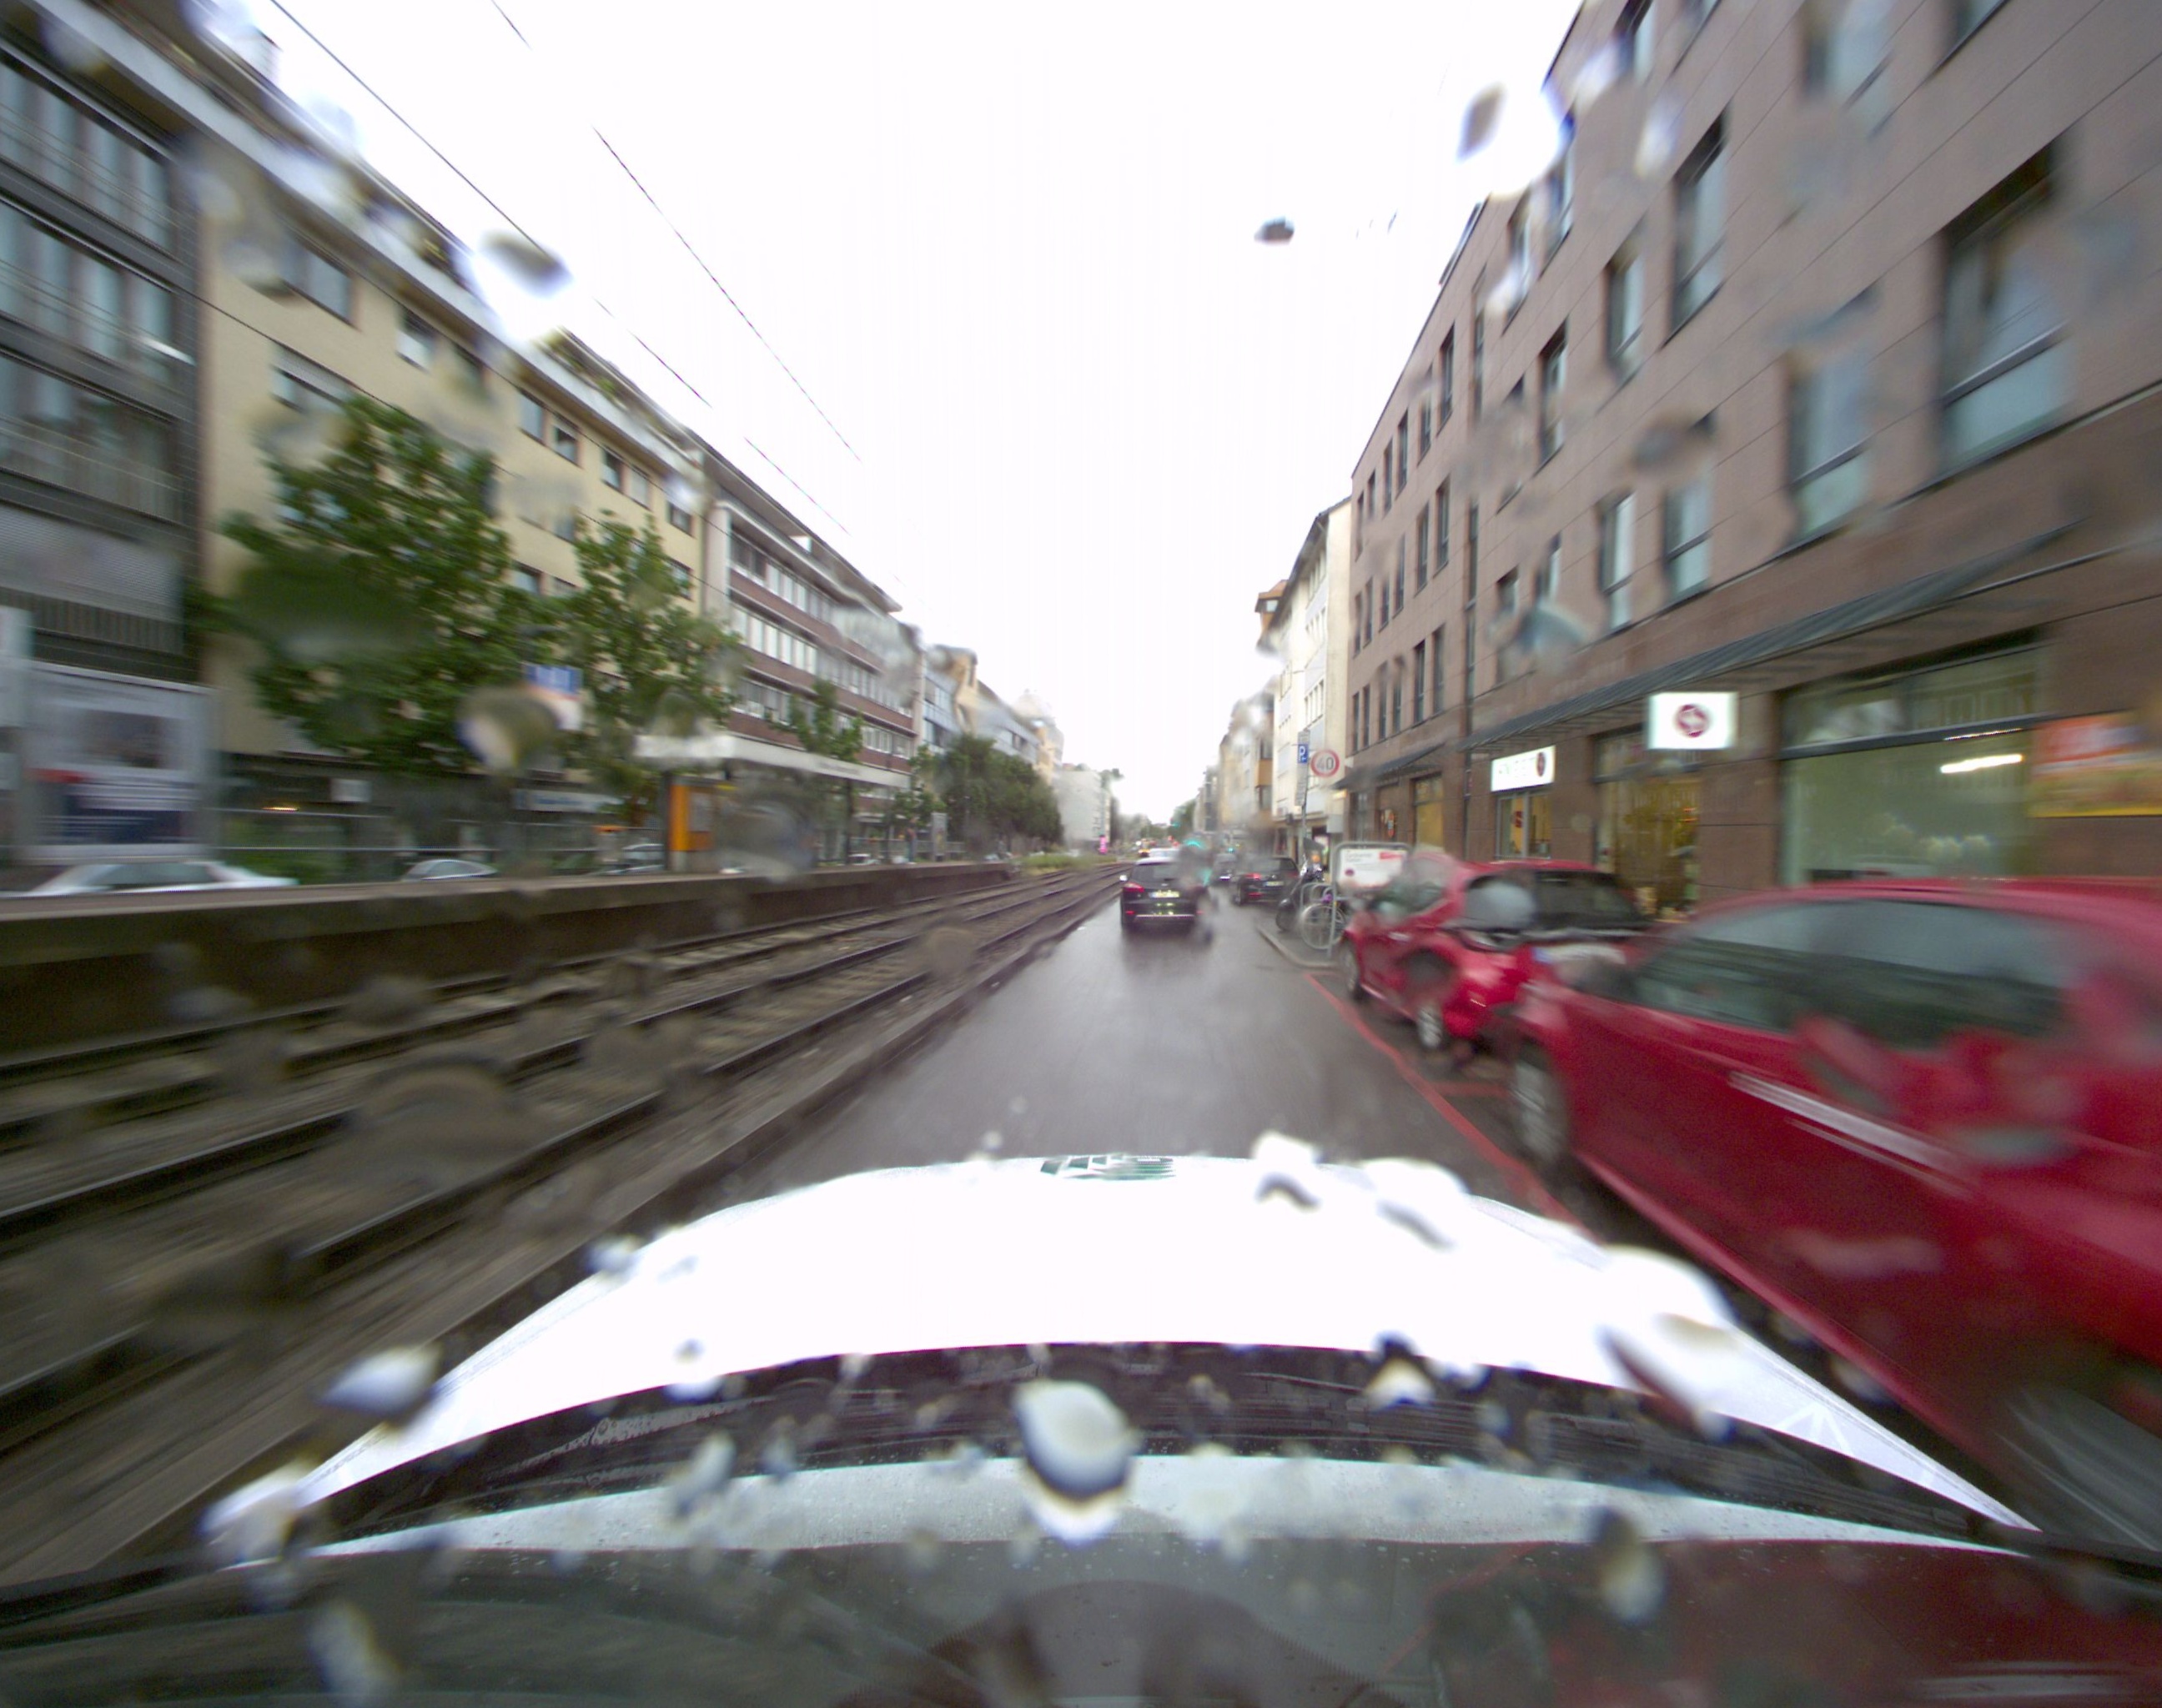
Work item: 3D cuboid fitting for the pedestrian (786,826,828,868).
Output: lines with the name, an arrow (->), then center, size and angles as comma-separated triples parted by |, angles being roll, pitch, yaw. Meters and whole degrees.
pedestrian -> -7.466, -0.192, 22.232 | 0.890, 1.123, 0.849 | 0, 0, -4

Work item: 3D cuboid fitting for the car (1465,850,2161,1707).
car -> 2.816, 0.744, 2.699 | 1.689, 1.479, 3.876 | -1, -1, 8

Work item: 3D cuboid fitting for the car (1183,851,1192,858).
car -> 22.539, 0.113, 172.542 | 1.896, 1.633, 4.583 | 1, 0, 8

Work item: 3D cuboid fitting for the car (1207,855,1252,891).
car -> 7.137, 0.862, 39.536 | 1.798, 1.631, 5.178 | 0, 0, 6

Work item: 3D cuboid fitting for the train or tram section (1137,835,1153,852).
train or tram section -> 14.399, -2.311, 184.495 | 3.497, 3.777, 11.344 | 0, 0, 4

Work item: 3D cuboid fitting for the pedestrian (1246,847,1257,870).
pedestrian -> 12.599, 0.313, 60.117 | 0.692, 1.652, 0.967 | 0, 0, 6

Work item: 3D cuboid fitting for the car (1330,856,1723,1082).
car -> 3.494, 0.777, 7.271 | 1.690, 1.462, 3.873 | -1, -1, 6

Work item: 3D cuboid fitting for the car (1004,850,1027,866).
car -> -6.219, 0.363, 77.322 | 1.561, 1.436, 4.182 | 0, 0, 4

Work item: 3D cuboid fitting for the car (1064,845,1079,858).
car -> -1.356, -0.421, 122.150 | 1.898, 1.864, 4.578 | 1, 0, 3

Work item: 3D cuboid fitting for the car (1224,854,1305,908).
car -> 5.553, 0.759, 25.131 | 1.766, 1.468, 4.615 | 0, 0, 4

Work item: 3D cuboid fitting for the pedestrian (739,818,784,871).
pedestrian -> -7.747, -0.232, 19.777 | 0.689, 1.249, 0.885 | 0, 0, 4

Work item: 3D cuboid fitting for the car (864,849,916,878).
car -> -10.249, 0.478, 43.928 | 1.561, 1.436, 4.182 | 0, 0, 4

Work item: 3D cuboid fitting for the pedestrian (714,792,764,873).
pedestrian -> -7.377, -0.451, 17.587 | 0.652, 1.711, 0.851 | 0, 0, 4

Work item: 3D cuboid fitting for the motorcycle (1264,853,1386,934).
motorcycle -> 4.492, 0.698, 15.011 | 2.065, 1.407, 0.803 | 0, -1, 24

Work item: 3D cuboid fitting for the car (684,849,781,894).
car -> -11.961, 0.565, 28.205 | 1.561, 1.436, 3.740 | 0, 0, 3

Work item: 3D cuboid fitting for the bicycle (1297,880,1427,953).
bicycle -> 4.166, 0.915, 12.134 | 1.778, 1.031, 0.463 | 0, -1, 5

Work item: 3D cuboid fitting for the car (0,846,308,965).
car -> -13.761, 0.618, 11.590 | 1.561, 1.436, 3.983 | 0, 0, 3

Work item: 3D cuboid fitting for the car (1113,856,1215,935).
car -> 1.782, 0.789, 17.094 | 1.896, 1.462, 3.451 | 1, 0, 7

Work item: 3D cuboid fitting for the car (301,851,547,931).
car -> -13.226, 0.659, 16.759 | 1.666, 1.436, 3.983 | 0, 0, 3

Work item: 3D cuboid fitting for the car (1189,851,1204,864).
car -> 15.715, 0.491, 110.722 | 1.896, 1.633, 4.583 | 1, 0, 8

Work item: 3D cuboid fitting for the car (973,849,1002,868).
car -> -7.560, 0.338, 66.032 | 1.561, 1.436, 4.182 | 0, 0, 4

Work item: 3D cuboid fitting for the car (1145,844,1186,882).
car -> 4.492, 0.444, 42.689 | 1.895, 1.864, 4.584 | 1, 0, 9

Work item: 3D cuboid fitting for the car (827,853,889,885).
car -> -10.564, 0.682, 38.893 | 1.561, 1.436, 4.242 | 0, 0, 4

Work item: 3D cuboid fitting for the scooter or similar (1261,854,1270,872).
scooter or similar -> 11.168, 0.543, 49.221 | 0.209, 1.083, 1.233 | 0, 0, -2

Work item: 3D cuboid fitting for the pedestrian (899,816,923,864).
pedestrian -> -6.465, -0.535, 31.006 | 0.652, 1.801, 0.851 | 0, 0, 4
